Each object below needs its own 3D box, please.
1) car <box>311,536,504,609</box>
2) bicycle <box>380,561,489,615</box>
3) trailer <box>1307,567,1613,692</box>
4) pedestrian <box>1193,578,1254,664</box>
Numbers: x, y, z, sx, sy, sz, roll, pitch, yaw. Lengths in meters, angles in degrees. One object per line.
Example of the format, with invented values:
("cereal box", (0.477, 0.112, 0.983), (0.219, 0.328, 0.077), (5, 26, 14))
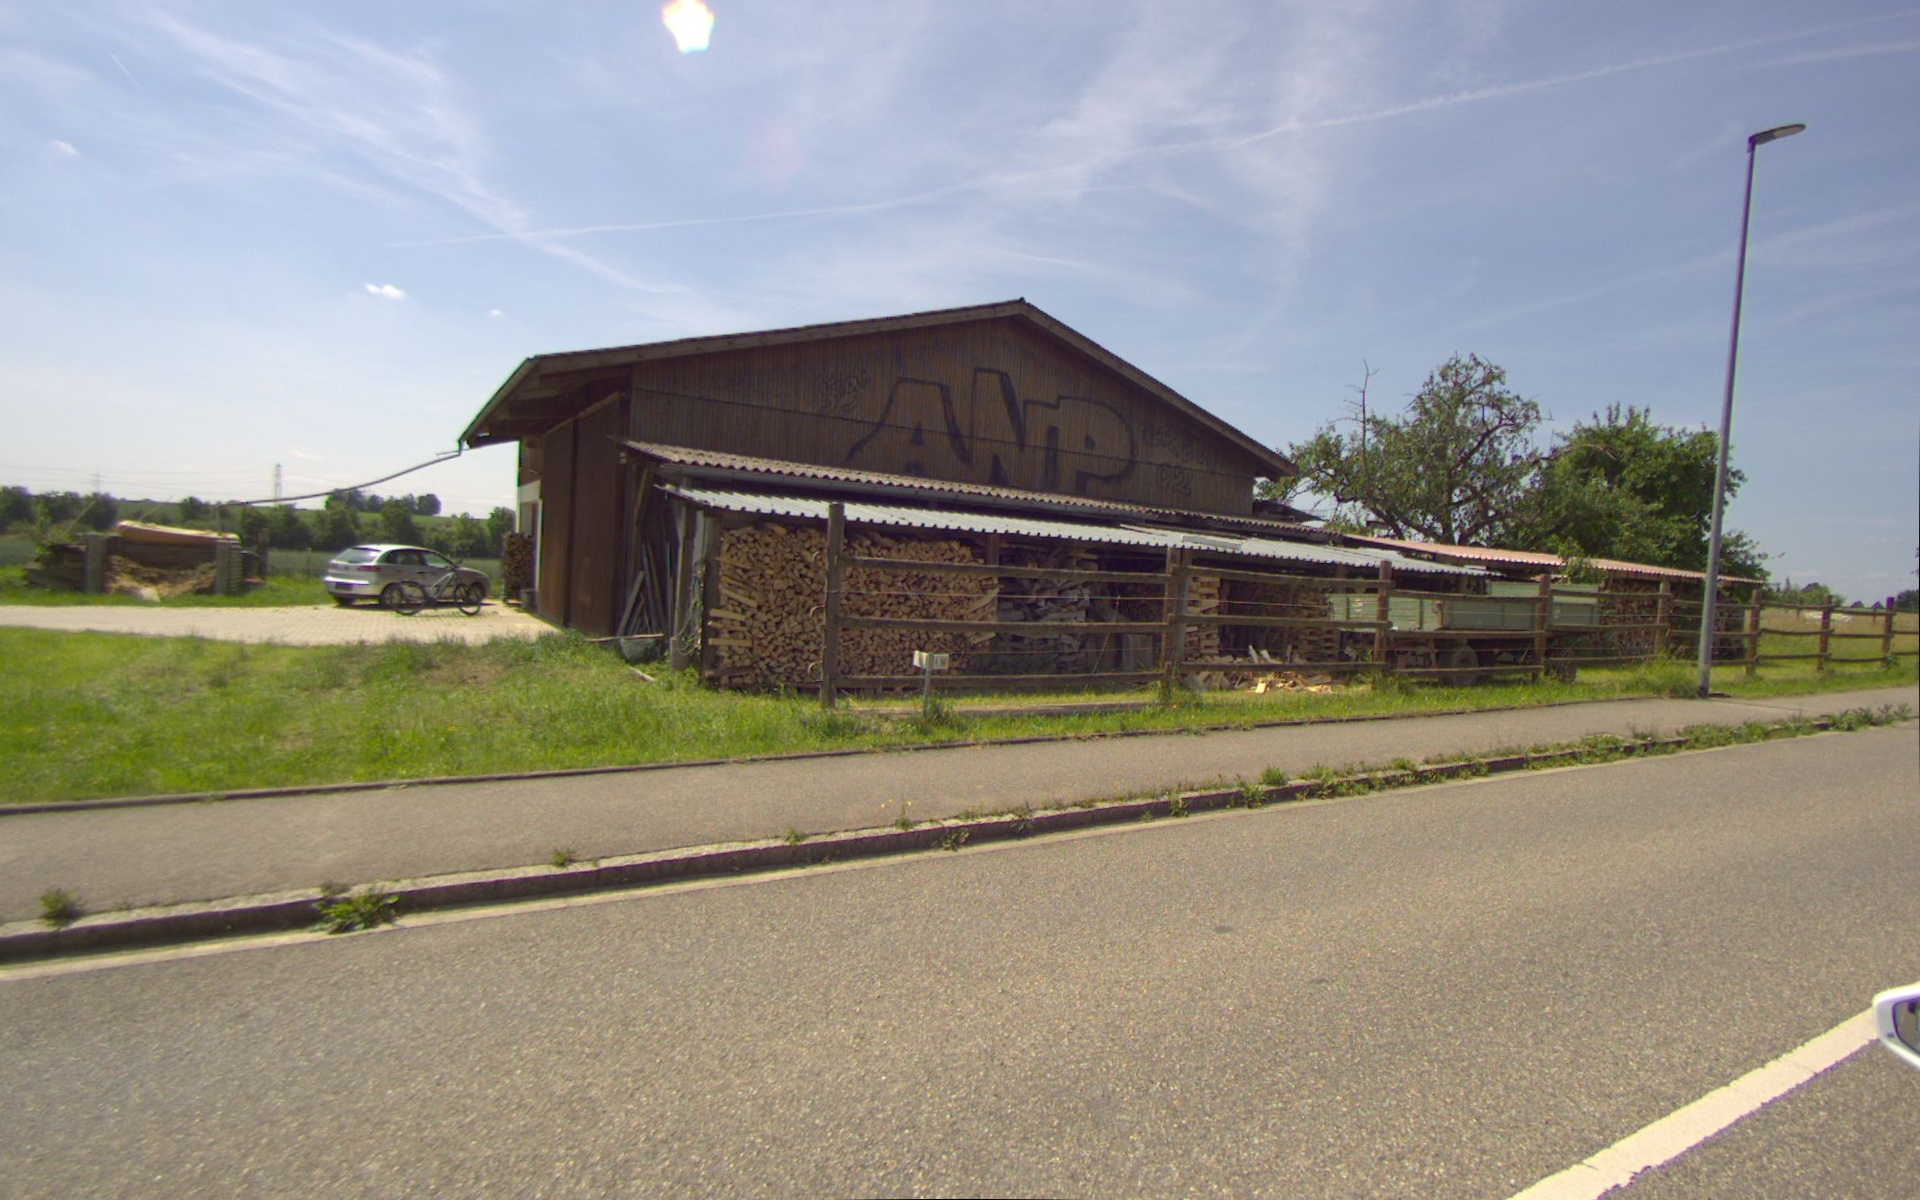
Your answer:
("car", (-13.402, -0.698, 24.648), (1.759, 1.539, 3.999), (4, 3, 18))
("bicycle", (-11.538, -0.253, 22.082), (2.086, 1.093, 0.826), (1, 3, -30))
("trailer", (8.118, 0.436, 16.162), (4.974, 1.726, 2.142), (1, 1, -33))
("pedestrian", (4.479, 0.355, 17.077), (0.733, 1.426, 0.585), (1, 2, -25))
